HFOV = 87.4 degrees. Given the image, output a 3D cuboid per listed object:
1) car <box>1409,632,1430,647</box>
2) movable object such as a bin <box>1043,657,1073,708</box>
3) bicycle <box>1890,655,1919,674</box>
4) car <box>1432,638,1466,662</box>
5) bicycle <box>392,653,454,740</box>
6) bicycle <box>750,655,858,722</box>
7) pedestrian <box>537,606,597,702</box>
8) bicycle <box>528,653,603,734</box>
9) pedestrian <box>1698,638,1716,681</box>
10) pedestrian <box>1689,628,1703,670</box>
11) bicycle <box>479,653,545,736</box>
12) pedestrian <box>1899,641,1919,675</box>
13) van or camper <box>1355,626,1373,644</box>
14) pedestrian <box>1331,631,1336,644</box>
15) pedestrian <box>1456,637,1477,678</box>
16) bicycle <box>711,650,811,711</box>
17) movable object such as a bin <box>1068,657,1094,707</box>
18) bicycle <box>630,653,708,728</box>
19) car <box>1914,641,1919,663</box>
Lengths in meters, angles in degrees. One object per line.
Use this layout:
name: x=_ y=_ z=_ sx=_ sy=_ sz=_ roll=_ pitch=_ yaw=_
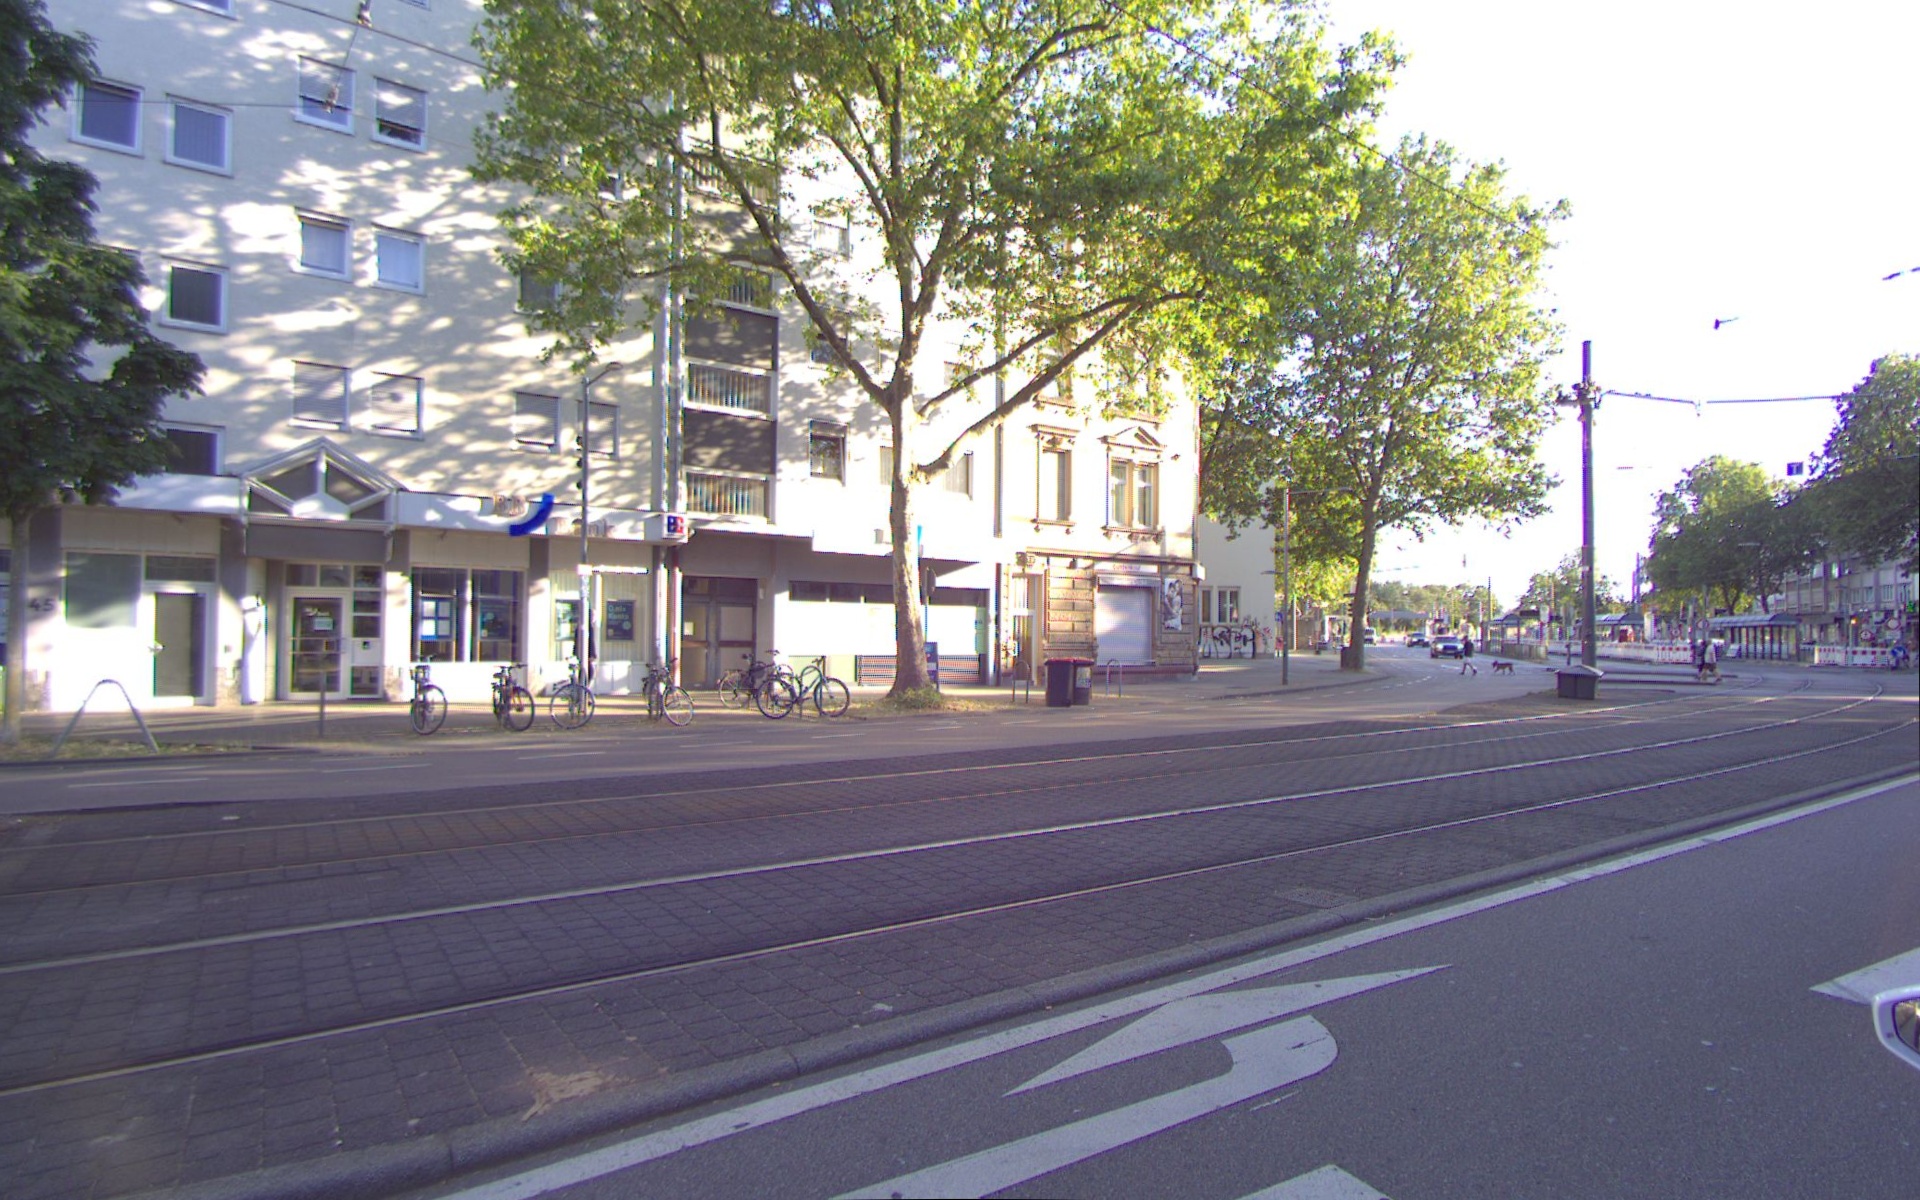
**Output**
car: x=50.917 y=4.323 z=111.286 sx=1.855 sy=1.606 sz=4.206 roll=0 pitch=-2 yaw=22
movable object such as a bin: x=2.167 y=1.814 z=22.232 sx=0.634 sy=1.108 sz=0.546 roll=0 pitch=-2 yaw=5
bicycle: x=49.825 y=3.368 z=52.421 sx=0.458 sy=0.955 sz=1.830 roll=1 pitch=-2 yaw=-33
car: x=32.599 y=3.303 z=67.055 sx=1.856 sy=1.492 sz=4.205 roll=0 pitch=-2 yaw=24
bicycle: x=-7.972 y=1.386 z=14.870 sx=0.529 sy=1.139 sz=1.880 roll=2 pitch=-1 yaw=-36
bicycle: x=-2.812 y=1.574 z=18.232 sx=1.891 sy=1.139 sz=0.505 roll=2 pitch=-1 yaw=-34
pedestrian: x=-7.682 y=1.048 z=19.628 sx=0.959 sy=1.811 sz=0.615 roll=2 pitch=0 yaw=-31
bicycle: x=-6.341 y=1.456 z=16.091 sx=0.646 sy=1.139 sz=1.880 roll=2 pitch=-1 yaw=-36
pedestrian: x=26.961 y=2.153 z=36.236 sx=0.513 sy=1.524 sz=0.591 roll=-1 pitch=-2 yaw=37
pedestrian: x=27.044 y=1.787 z=36.913 sx=0.403 sy=1.524 sz=0.515 roll=0 pitch=-2 yaw=37
bicycle: x=-6.980 y=1.427 z=15.618 sx=0.529 sy=1.139 sz=1.880 roll=2 pitch=-1 yaw=-36
pedestrian: x=49.359 y=3.001 z=52.217 sx=0.395 sy=1.748 sz=0.716 roll=1 pitch=-2 yaw=-33
van or camper: x=52.220 y=4.537 z=130.001 sx=2.132 sy=2.349 sz=5.103 roll=0 pitch=-2 yaw=21
pedestrian: x=43.006 y=4.352 z=115.651 sx=0.507 sy=1.524 sz=0.558 roll=0 pitch=-2 yaw=23
pedestrian: x=22.092 y=2.512 z=43.791 sx=0.663 sy=1.733 sz=0.431 roll=2 pitch=0 yaw=2
bicycle: x=-3.959 y=1.584 z=20.028 sx=1.891 sy=1.139 sz=0.505 roll=2 pitch=-1 yaw=-34
movable object such as a bin: x=2.755 y=1.855 z=22.849 sx=0.562 sy=1.108 sz=0.477 roll=0 pitch=-2 yaw=5
bicycle: x=-4.983 y=1.508 z=17.111 sx=0.646 sy=1.139 sz=1.880 roll=2 pitch=-1 yaw=-36
car: x=64.520 y=3.404 z=65.861 sx=1.635 sy=1.488 sz=3.412 roll=-3 pitch=-3 yaw=22
